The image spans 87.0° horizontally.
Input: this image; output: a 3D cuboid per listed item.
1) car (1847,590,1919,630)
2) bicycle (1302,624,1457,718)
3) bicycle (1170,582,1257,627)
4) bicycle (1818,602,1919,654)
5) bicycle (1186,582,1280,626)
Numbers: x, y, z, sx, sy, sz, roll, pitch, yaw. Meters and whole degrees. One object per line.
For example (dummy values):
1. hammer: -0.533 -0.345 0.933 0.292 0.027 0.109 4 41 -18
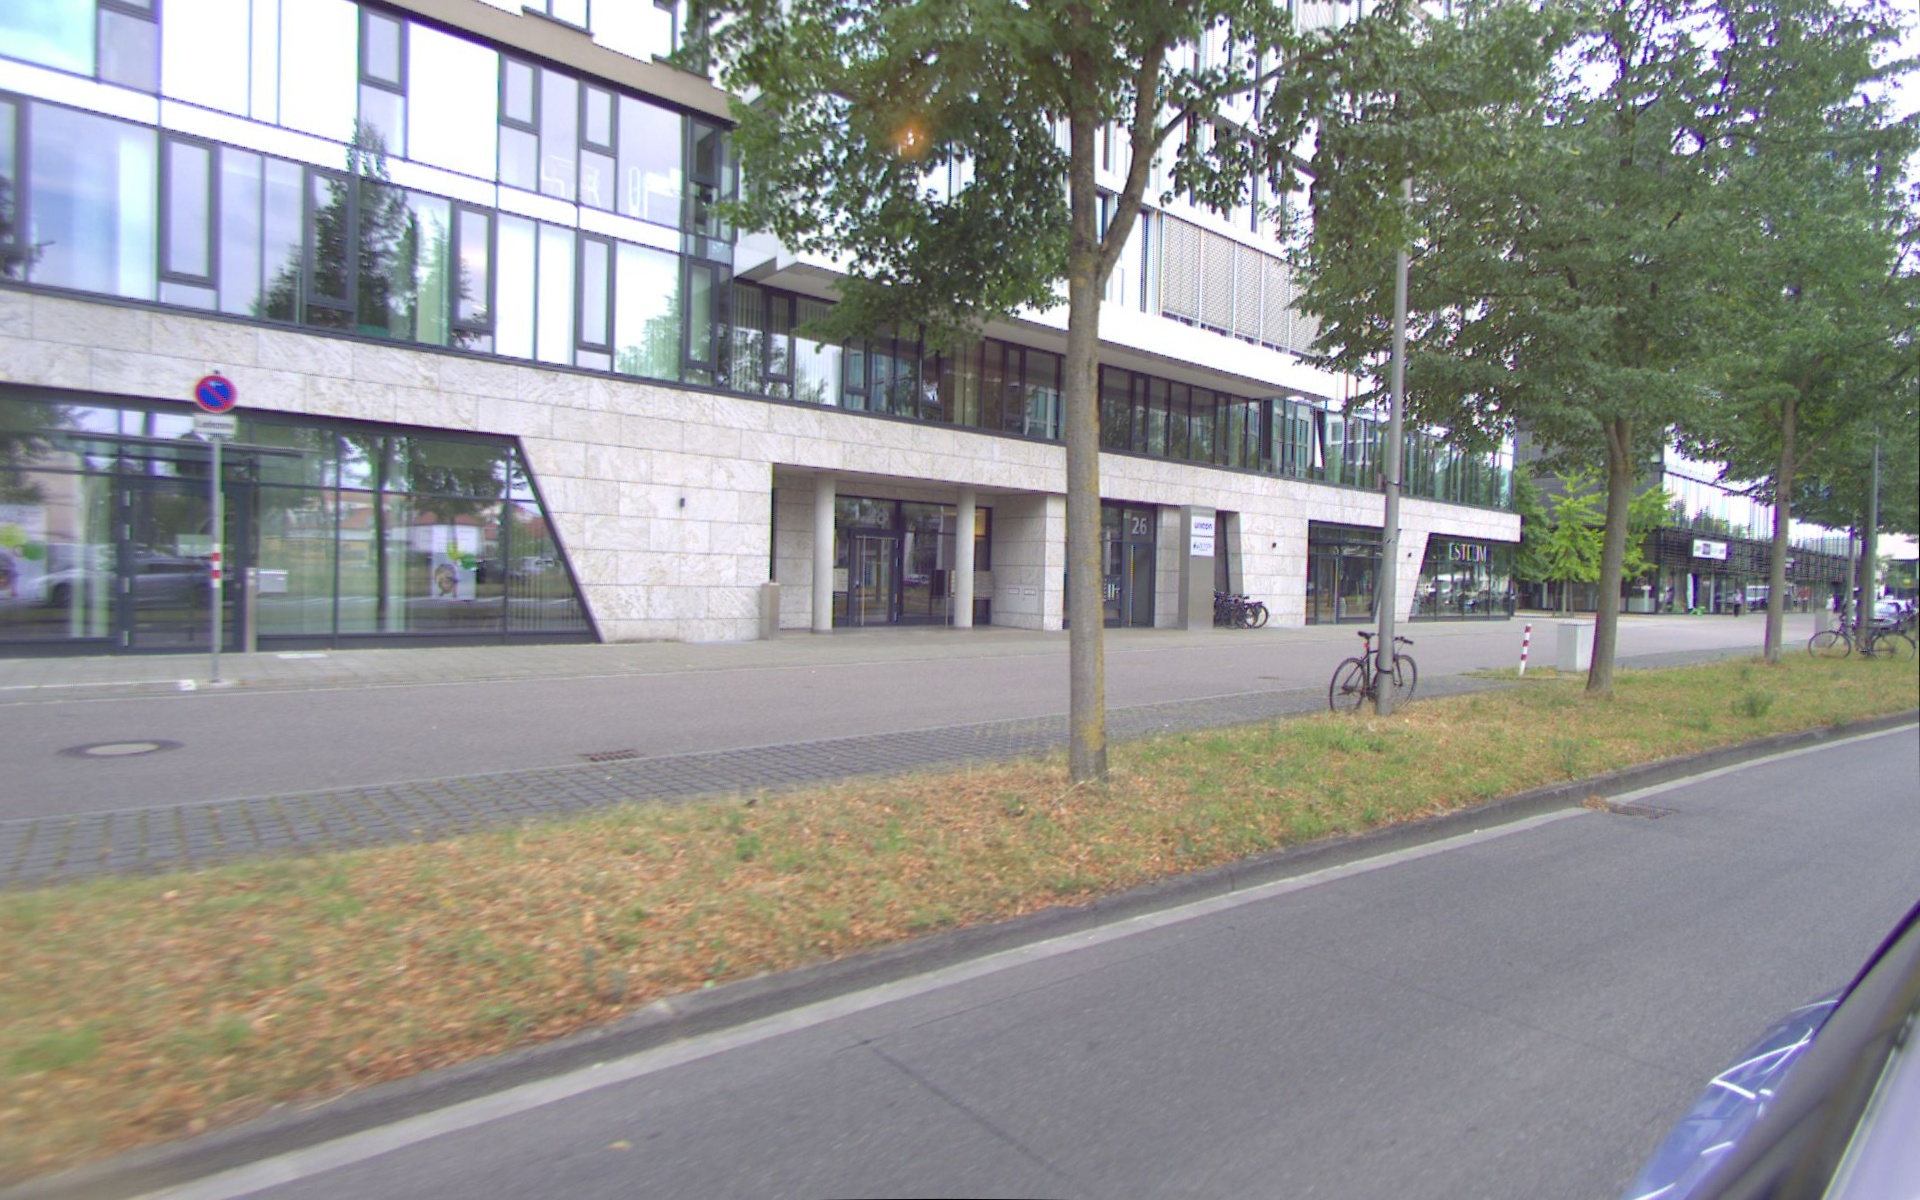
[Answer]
1. car: 38.628 0.387 42.168 3.930 1.549 1.953 0 2 -41
2. bicycle: 4.635 0.739 11.116 2.077 0.887 0.634 -1 0 -38
3. bicycle: 7.258 0.105 29.007 2.232 1.191 0.961 2 2 44
4. bicycle: 19.440 0.582 21.515 1.779 1.032 0.417 2 1 37
5. bicycle: 8.050 0.089 29.942 2.418 1.191 1.184 2 2 44
